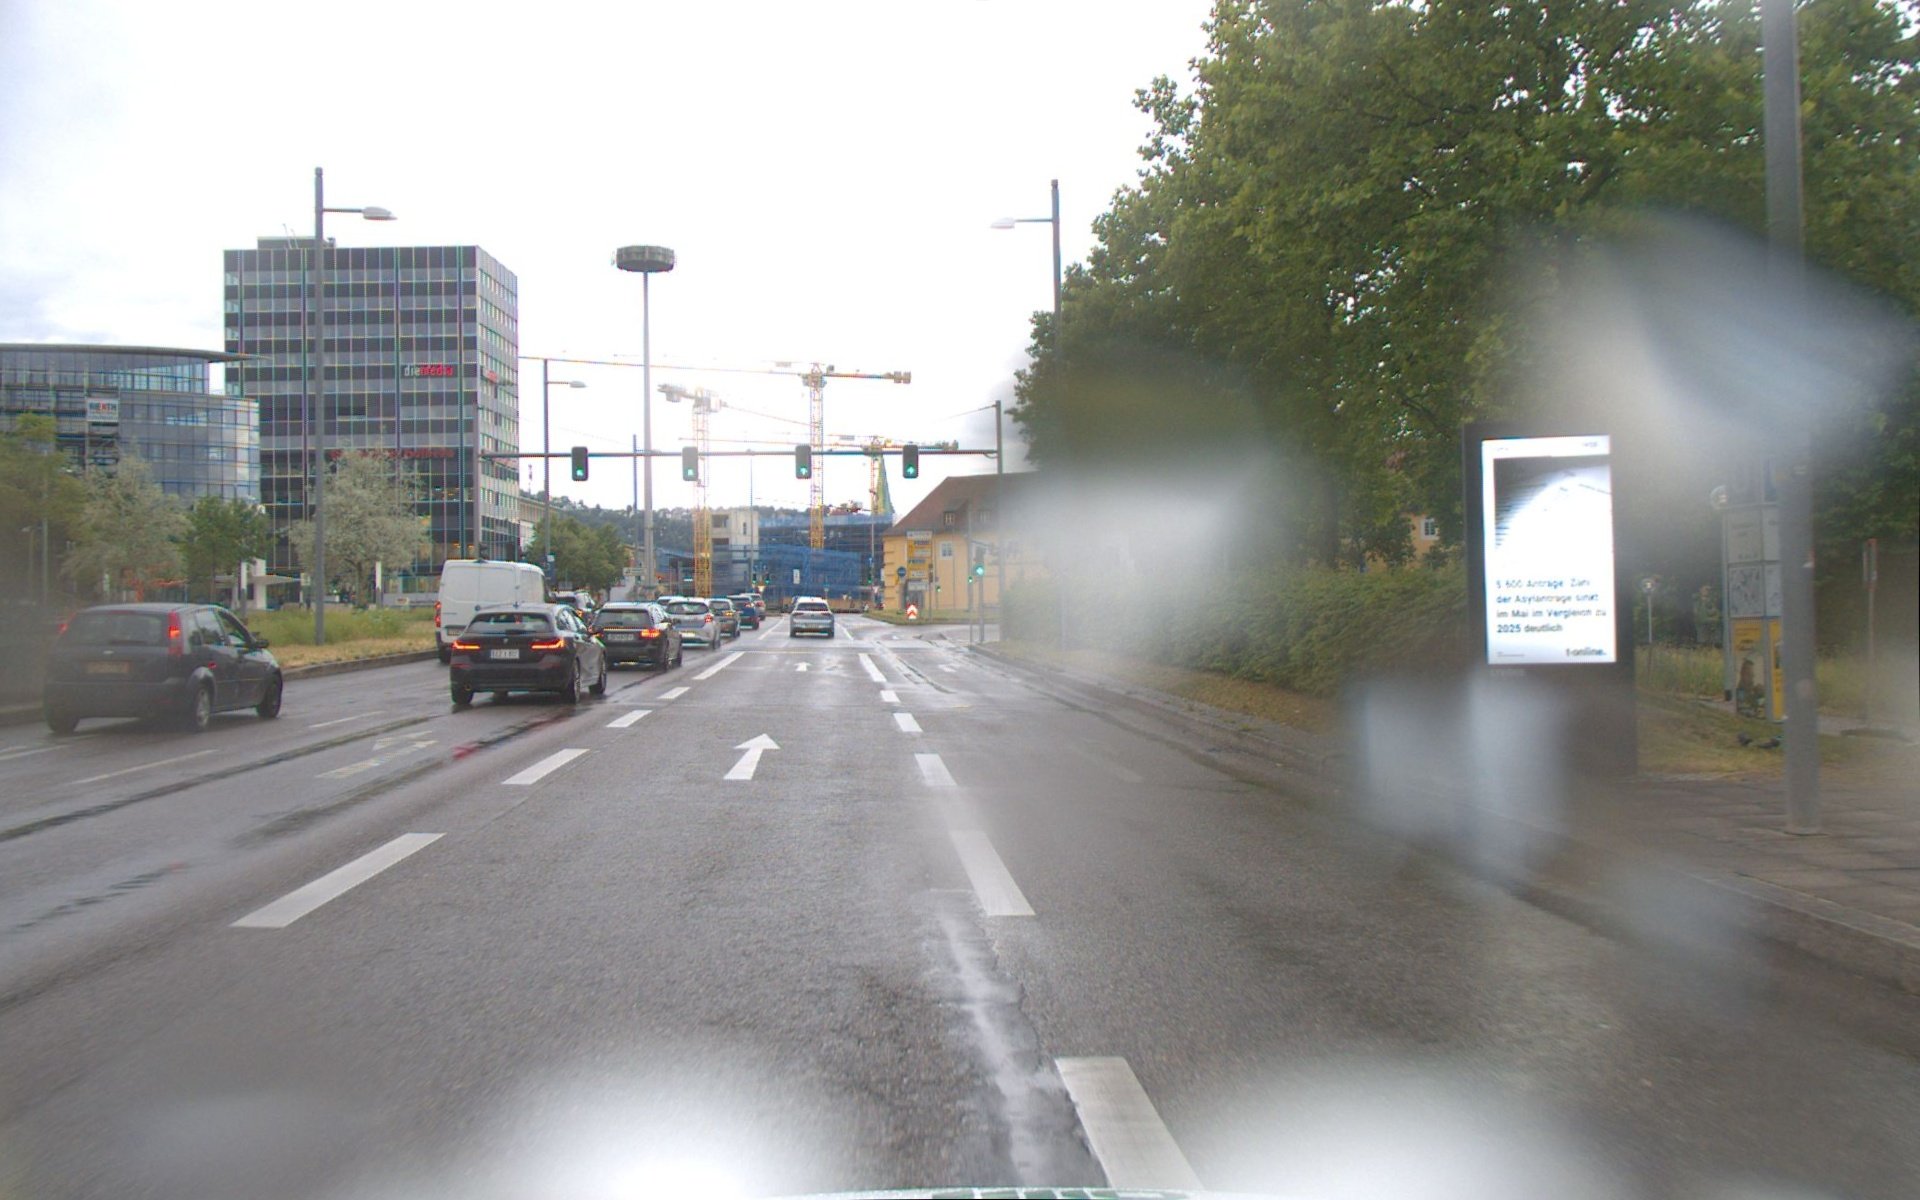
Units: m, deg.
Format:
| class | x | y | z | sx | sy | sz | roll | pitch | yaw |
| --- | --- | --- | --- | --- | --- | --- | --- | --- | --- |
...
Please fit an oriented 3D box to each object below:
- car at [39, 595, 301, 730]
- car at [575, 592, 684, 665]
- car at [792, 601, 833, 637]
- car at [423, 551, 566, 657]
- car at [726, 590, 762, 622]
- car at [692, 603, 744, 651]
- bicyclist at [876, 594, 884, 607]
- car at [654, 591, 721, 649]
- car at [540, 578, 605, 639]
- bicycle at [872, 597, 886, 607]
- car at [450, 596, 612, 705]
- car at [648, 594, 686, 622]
| class | x | y | z | sx | sy | sz | roll | pitch | yaw |
| --- | --- | --- | --- | --- | --- | --- | --- | --- | --- |
| car | -9.262 | 0.719 | 19.728 | 1.512 | 1.440 | 3.897 | 0 | -1 | -5 |
| car | -7.185 | 0.639 | 36.205 | 1.793 | 1.521 | 3.397 | 0 | -1 | -2 |
| car | -5.745 | 0.748 | 64.486 | 1.415 | 1.383 | 2.411 | 0 | -1 | -1 |
| car | -10.974 | 0.147 | 39.407 | 2.247 | 2.355 | 5.001 | 0 | -1 | -4 |
| car | -9.857 | 0.272 | 75.512 | 1.464 | 1.393 | 3.030 | 0 | -1 | -4 |
| car | -9.084 | 1.023 | 62.336 | 1.682 | 1.758 | 3.491 | 0 | -1 | -4 |
| bicyclist | -7.971 | 0.049 | 165.154 | 0.693 | 1.298 | 0.631 | 1 | -2 | -20 |
| car | -8.206 | 0.632 | 50.054 | 1.845 | 1.682 | 3.452 | 0 | -1 | -7 |
| car | -11.338 | 0.277 | 48.539 | 1.436 | 1.736 | 3.137 | 0 | -1 | -6 |
| bicycle | -8.122 | 0.208 | 165.354 | 0.867 | 1.027 | 1.981 | 1 | -2 | -19 |
| car | -6.426 | 0.700 | 25.207 | 1.719 | 1.497 | 4.218 | 0 | 0 | -5 |
| car | -14.009 | 0.416 | 79.041 | 1.520 | 1.282 | 2.578 | 0 | -1 | -4 |
